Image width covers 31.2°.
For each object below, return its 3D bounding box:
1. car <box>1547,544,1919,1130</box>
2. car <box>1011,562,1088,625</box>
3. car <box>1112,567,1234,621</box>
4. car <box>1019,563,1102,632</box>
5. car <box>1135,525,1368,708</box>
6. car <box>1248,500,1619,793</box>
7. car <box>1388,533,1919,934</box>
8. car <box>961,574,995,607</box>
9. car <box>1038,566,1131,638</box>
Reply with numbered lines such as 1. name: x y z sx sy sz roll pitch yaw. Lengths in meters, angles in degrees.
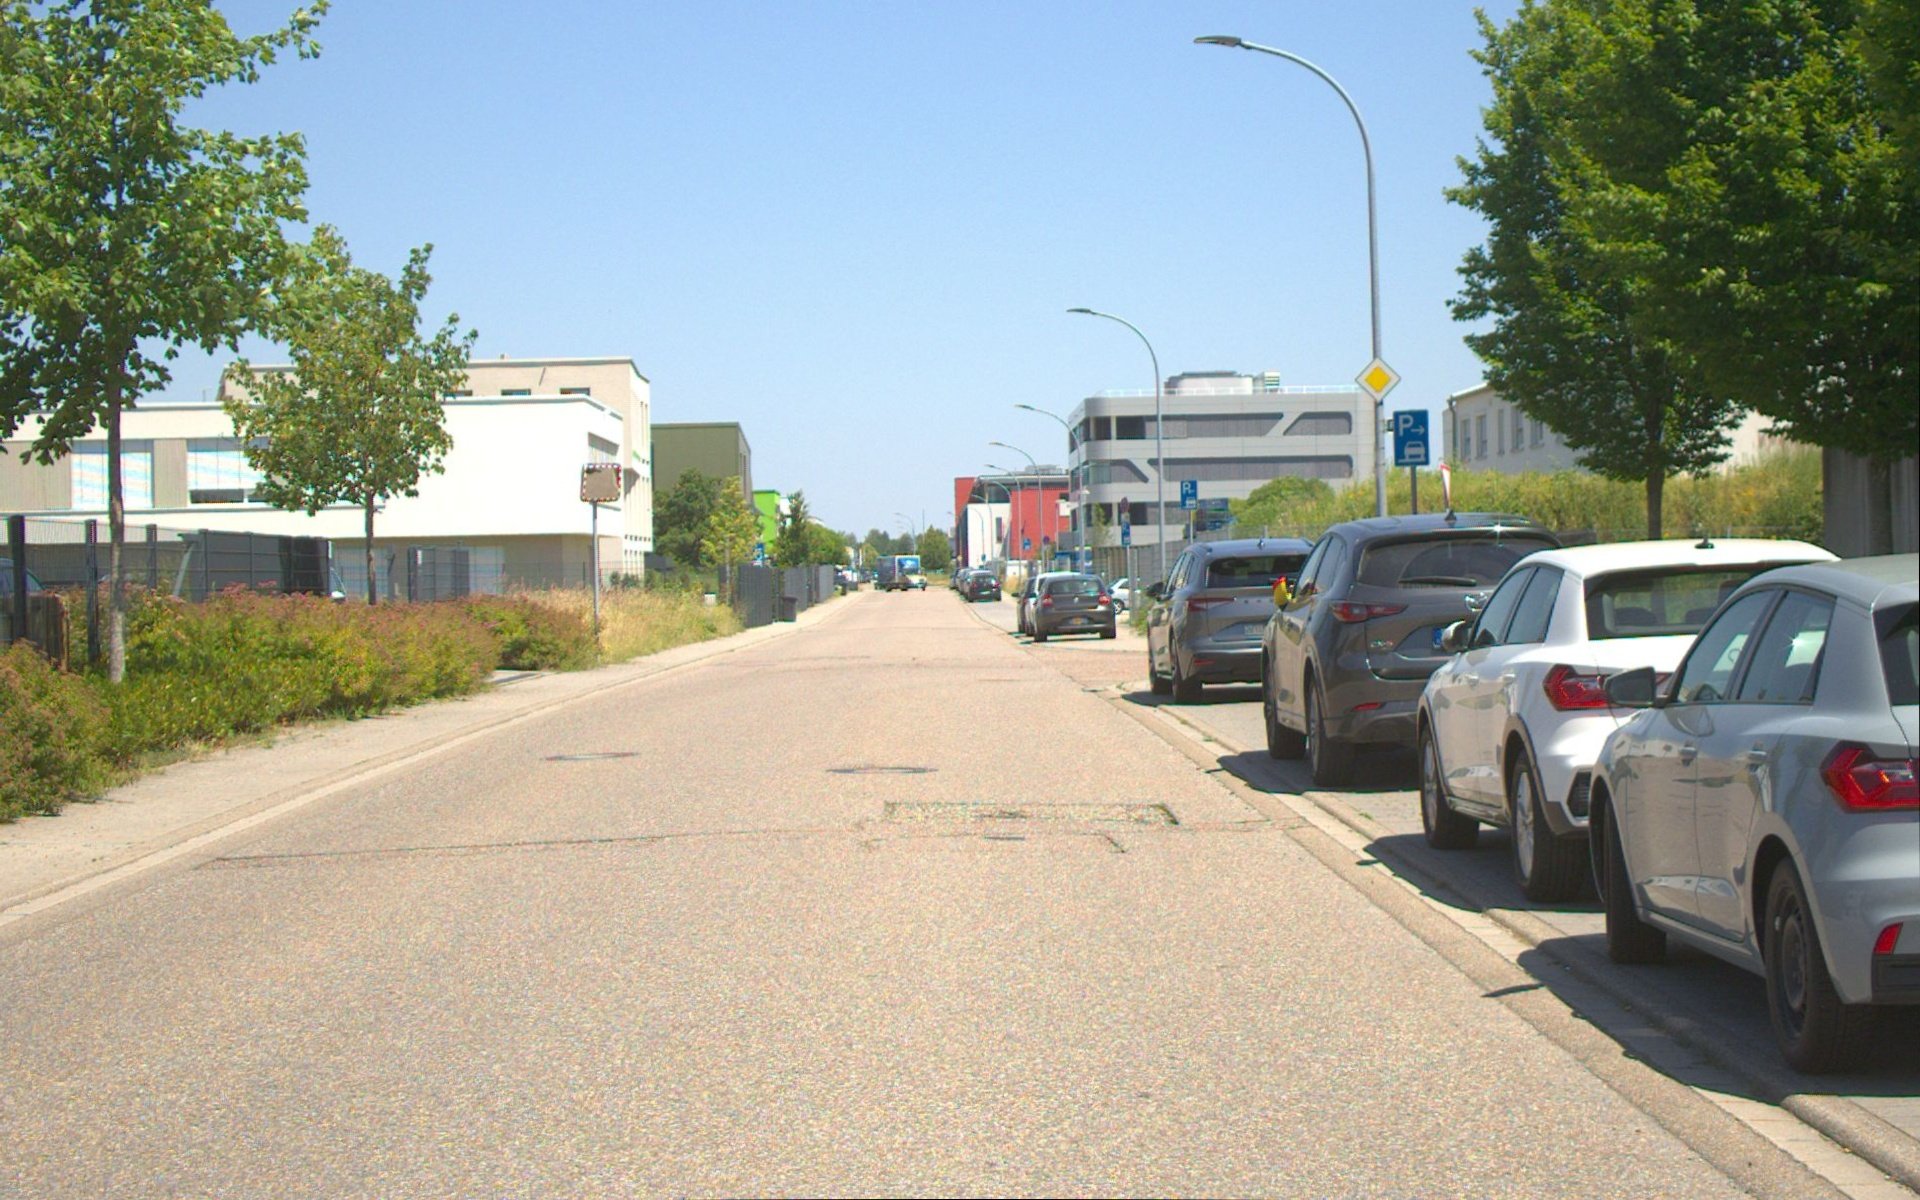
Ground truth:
1. car: 3.071 0.563 10.745 1.716 1.418 3.951 -3 1 0
2. car: 2.386 -0.181 90.596 1.908 1.541 4.000 -3 1 2
3. car: 8.190 -0.243 132.326 4.625 2.007 2.606 1 1 3
4. car: 2.457 -0.081 83.819 1.908 1.541 4.000 -3 1 2
5. car: 2.929 0.122 35.442 1.803 1.656 4.608 -3 1 -1
6. car: 2.981 0.236 22.496 1.757 1.657 4.363 -2 1 0
7. car: 3.071 0.487 15.443 1.716 1.476 4.031 -3 1 0
8. car: 0.957 -0.531 185.593 1.776 1.722 4.000 1 1 0
9. car: 2.705 0.030 74.901 1.908 1.443 4.000 -3 1 2
